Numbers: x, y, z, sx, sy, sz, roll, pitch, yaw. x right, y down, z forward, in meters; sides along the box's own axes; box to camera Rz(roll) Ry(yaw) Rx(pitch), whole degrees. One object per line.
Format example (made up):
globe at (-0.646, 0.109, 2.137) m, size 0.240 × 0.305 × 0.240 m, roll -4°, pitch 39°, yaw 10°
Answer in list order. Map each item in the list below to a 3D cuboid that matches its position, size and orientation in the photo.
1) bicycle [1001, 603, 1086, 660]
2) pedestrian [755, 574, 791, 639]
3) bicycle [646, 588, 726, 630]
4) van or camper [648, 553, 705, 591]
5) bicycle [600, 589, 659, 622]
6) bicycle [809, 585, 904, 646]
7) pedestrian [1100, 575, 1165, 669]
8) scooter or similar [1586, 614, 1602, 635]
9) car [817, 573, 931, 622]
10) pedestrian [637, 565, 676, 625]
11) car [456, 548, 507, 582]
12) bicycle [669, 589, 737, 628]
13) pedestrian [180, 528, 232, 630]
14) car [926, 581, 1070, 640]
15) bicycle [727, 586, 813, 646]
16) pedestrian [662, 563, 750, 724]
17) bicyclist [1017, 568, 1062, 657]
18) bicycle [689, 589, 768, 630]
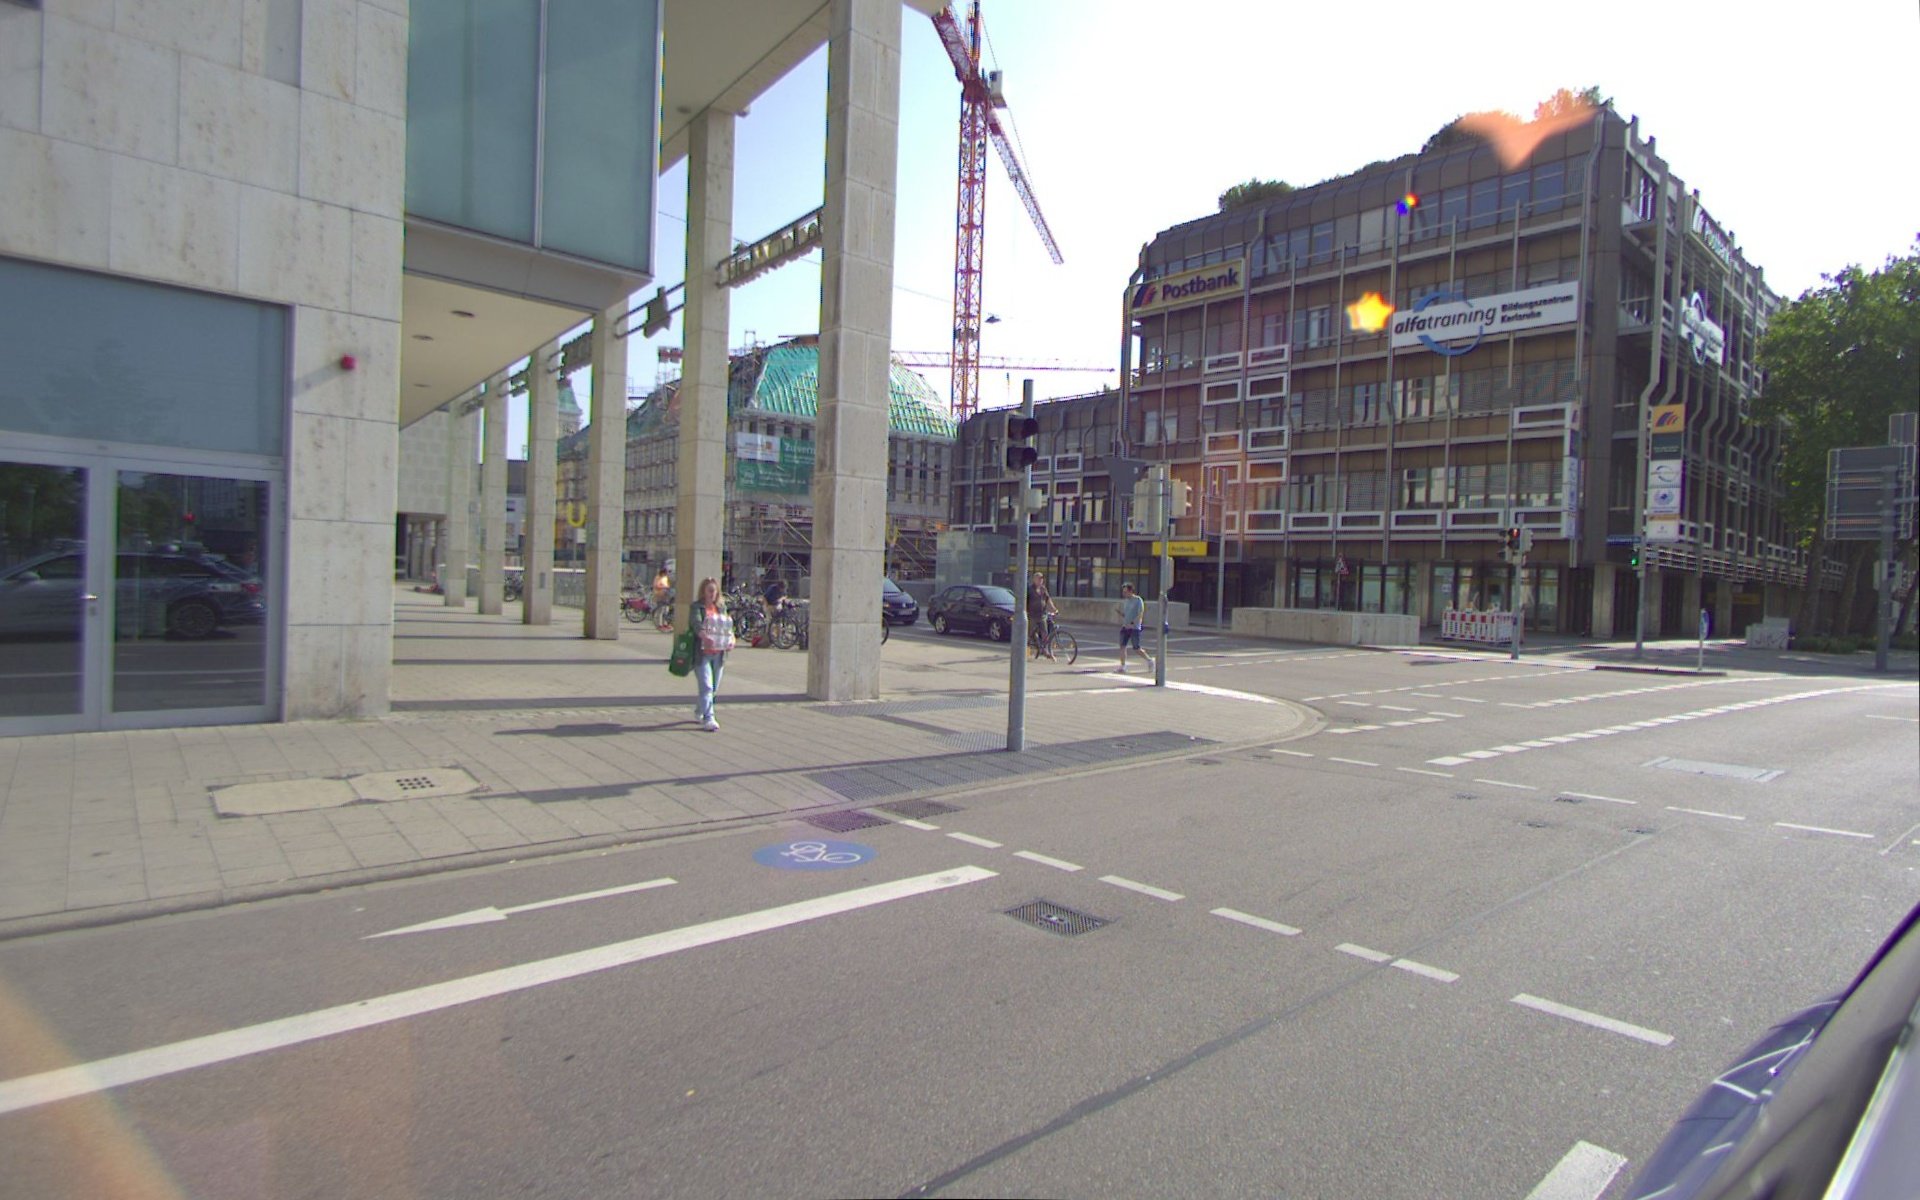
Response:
bicycle at (1.682, 0.616, 20.589) m, size 0.601 × 1.030 × 1.805 m, roll 2°, pitch 1°, yaw -41°
pedestrian at (-4.039, 0.135, 21.880) m, size 0.511 × 1.373 × 0.539 m, roll 2°, pitch 1°, yaw 42°
bicycle at (-6.701, 0.227, 24.816) m, size 1.819 × 0.968 × 0.460 m, roll 1°, pitch 1°, yaw -32°
van or camper at (-19.821, -1.974, 70.720) m, size 1.963 × 2.439 × 5.142 m, roll 2°, pitch 1°, yaw -38°
bicycle at (-10.315, 0.175, 31.589) m, size 1.687 × 0.968 × 0.459 m, roll 1°, pitch 1°, yaw -43°
bicycle at (-2.215, 0.329, 21.885) m, size 2.033 × 1.253 × 0.614 m, roll 1°, pitch 1°, yaw -40°
pedestrian at (3.278, 0.415, 19.234) m, size 0.970 × 1.732 × 0.645 m, roll 2°, pitch 1°, yaw -33°
scooter or similar at (26.296, 1.005, 41.948) m, size 0.942 × 0.853 × 0.279 m, roll 1°, pitch 1°, yaw -42°
car at (-2.814, -0.117, 32.341) m, size 1.844 × 1.420 × 3.913 m, roll 1°, pitch 1°, yaw -36°
pedestrian at (-7.799, -0.140, 26.020) m, size 0.594 × 1.504 × 0.734 m, roll 2°, pitch 1°, yaw 18°
car at (-35.749, -2.563, 75.556) m, size 2.381 × 2.440 × 5.004 m, roll 1°, pitch 0°, yaw -38°
bicycle at (-6.670, 0.225, 26.287) m, size 1.637 × 0.968 × 0.460 m, roll 1°, pitch 1°, yaw -32°
pedestrian at (-12.877, -0.358, 17.295) m, size 0.448 × 1.699 × 0.504 m, roll 2°, pitch 1°, yaw 14°
car at (0.962, 0.245, 27.542) m, size 1.842 × 1.383 × 3.905 m, roll 0°, pitch 2°, yaw -37°
bicycle at (-3.979, 0.333, 21.333) m, size 1.762 × 1.214 × 0.501 m, roll 1°, pitch 1°, yaw -43°
pedestrian at (-2.501, 0.405, 9.945) m, size 0.593 × 1.506 × 0.710 m, roll 2°, pitch 1°, yaw -33°
bicyclist at (1.618, 0.246, 20.688) m, size 0.572 × 1.759 × 0.636 m, roll 2°, pitch 1°, yaw -41°
bicycle at (-5.681, 0.239, 24.857) m, size 1.819 × 0.968 × 0.460 m, roll 1°, pitch 1°, yaw -32°
